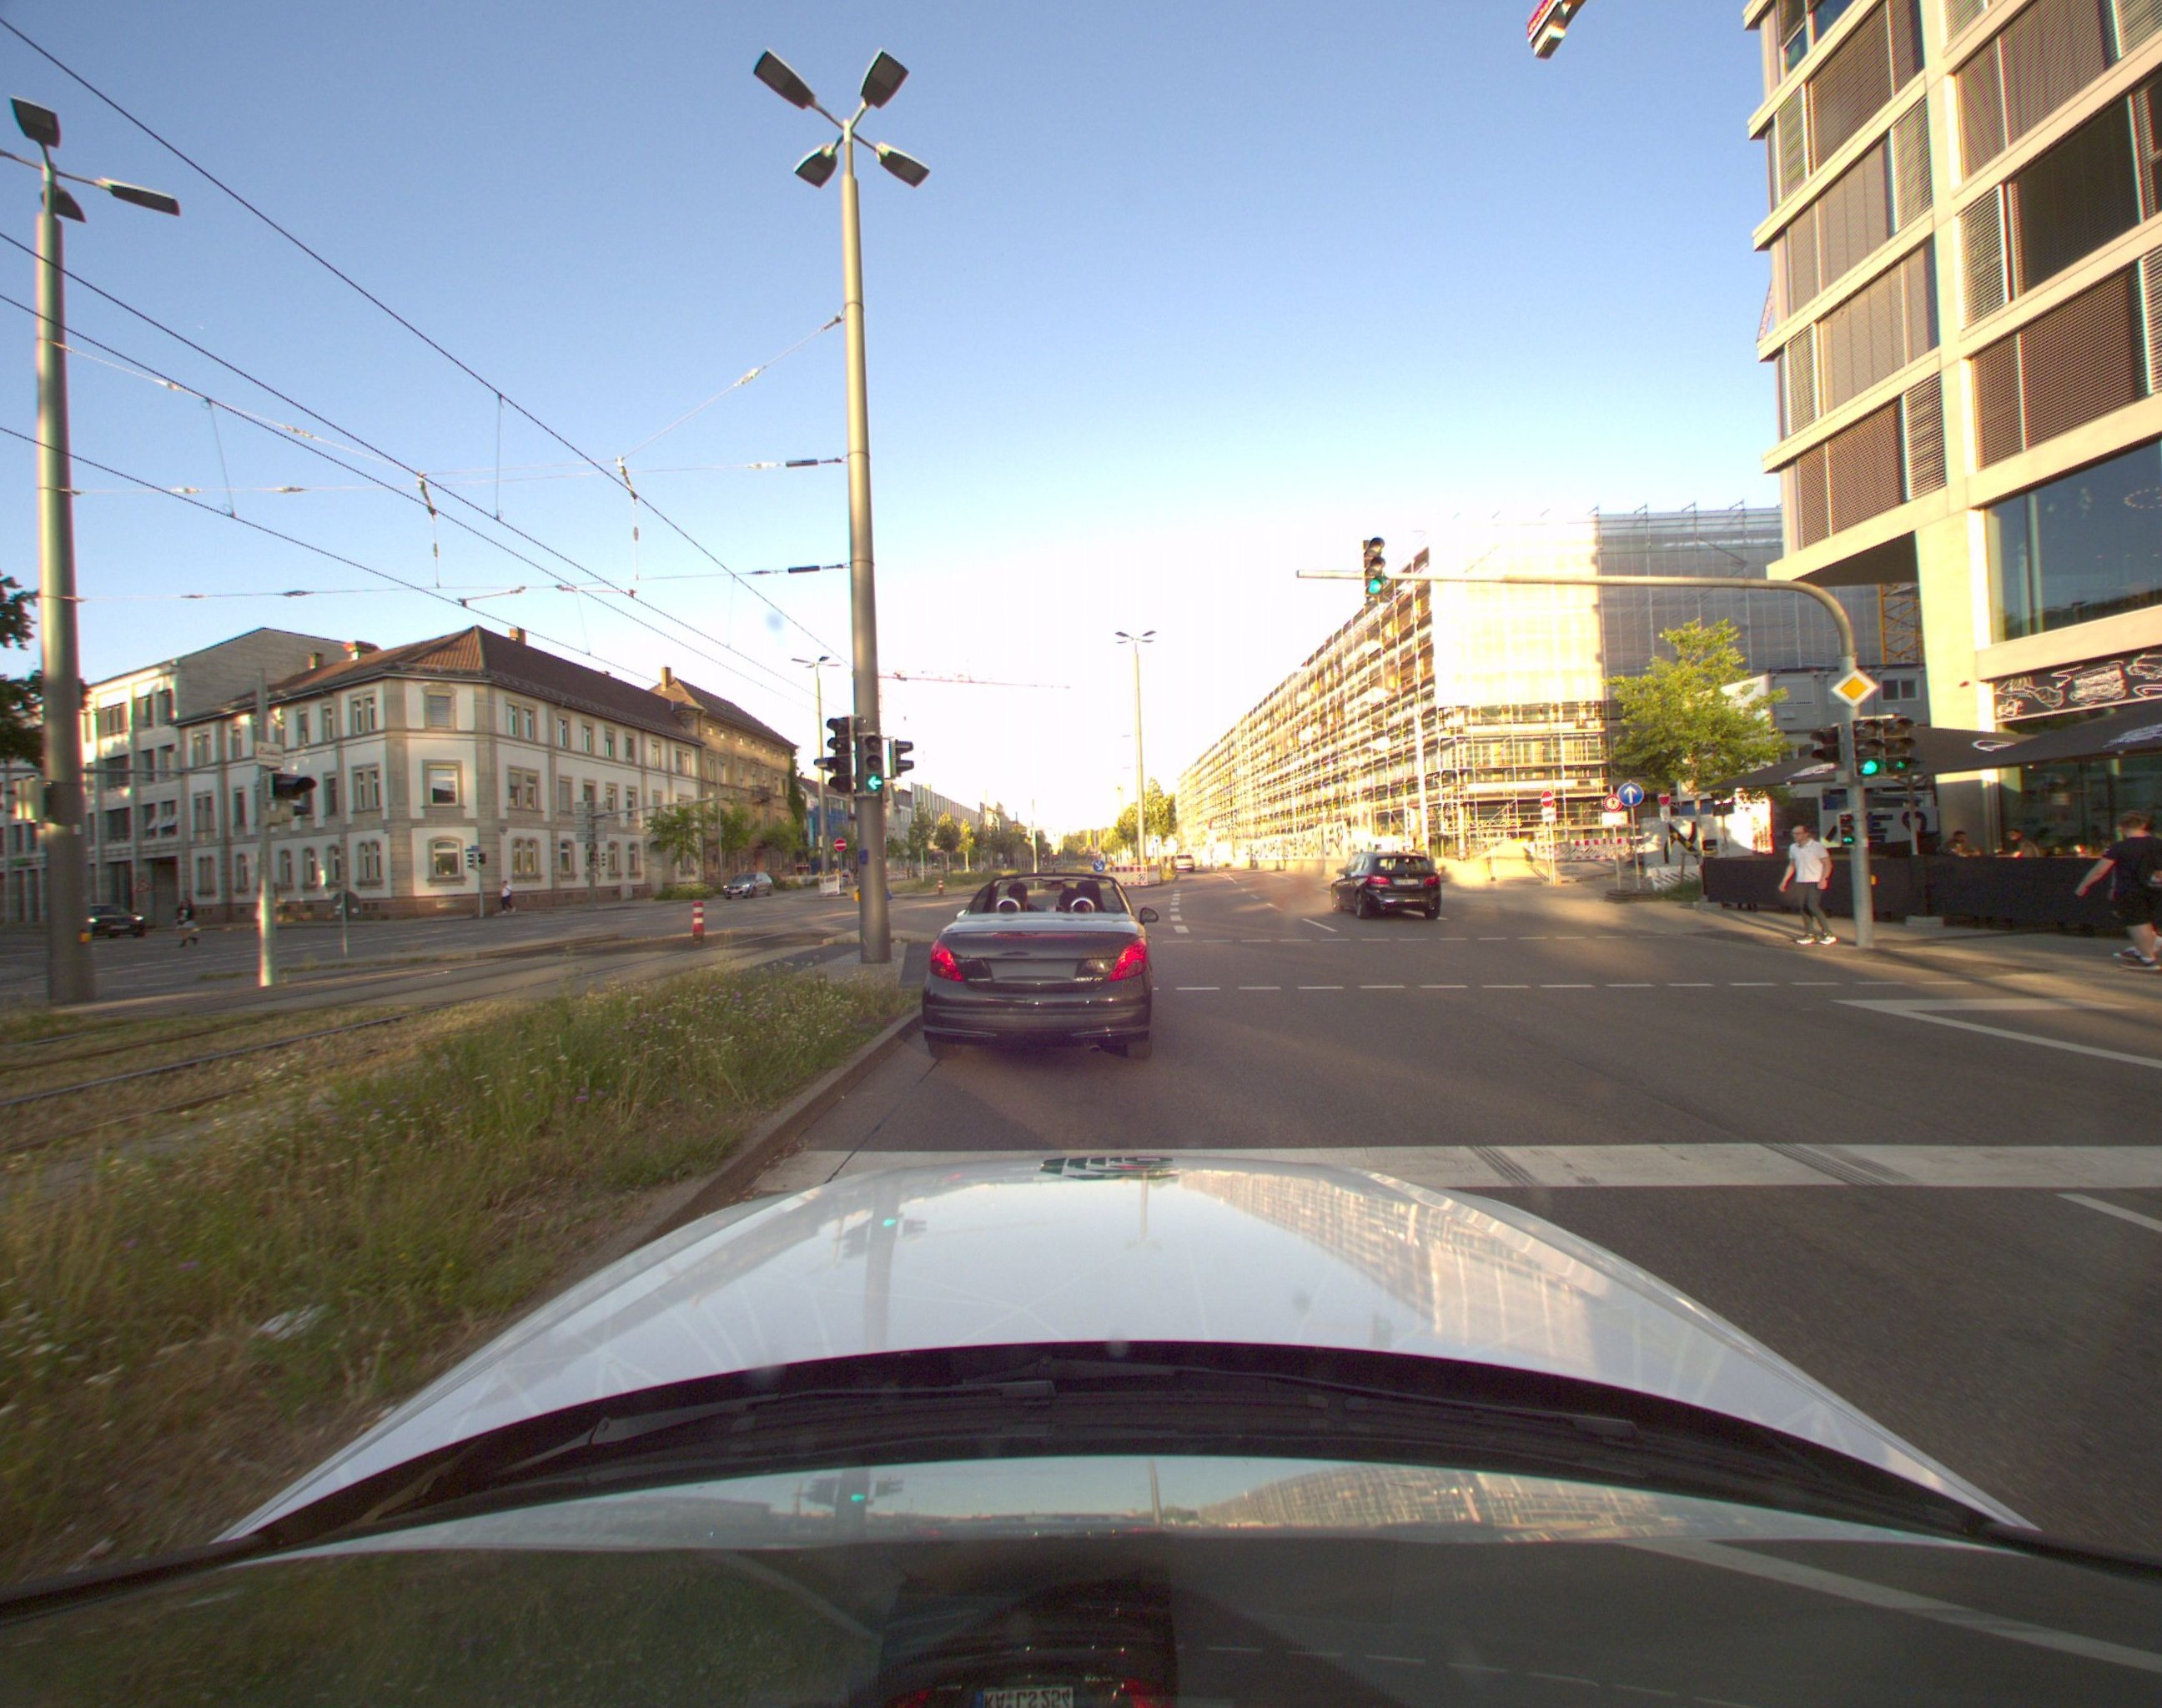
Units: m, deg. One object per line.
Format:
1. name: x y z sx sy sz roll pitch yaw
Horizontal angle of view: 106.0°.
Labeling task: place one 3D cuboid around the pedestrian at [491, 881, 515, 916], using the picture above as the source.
1. pedestrian: -29.459 2.262 41.504 0.695 1.716 0.818 -1 -1 39

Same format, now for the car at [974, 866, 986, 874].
1. car: -19.126 2.974 153.772 1.651 1.431 3.896 0 0 2

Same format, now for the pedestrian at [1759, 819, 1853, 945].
1. pedestrian: 11.144 0.414 12.534 0.678 1.847 0.766 -3 0 -19

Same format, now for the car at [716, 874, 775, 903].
1. car: -21.561 2.176 52.519 1.987 1.580 4.125 -4 0 1

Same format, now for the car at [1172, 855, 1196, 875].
1. car: 9.049 0.907 71.996 1.826 1.672 4.287 -1 0 4

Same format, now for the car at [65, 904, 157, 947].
1. car: -40.935 2.971 34.360 3.949 1.555 1.801 -1 0 30

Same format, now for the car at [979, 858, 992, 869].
1. car: -17.353 1.771 148.555 1.651 1.964 4.268 0 0 2

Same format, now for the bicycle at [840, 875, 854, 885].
1. bicycle: -21.949 2.446 76.496 0.769 0.945 1.640 0 0 1

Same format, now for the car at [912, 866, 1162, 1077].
1. car: -0.239 0.823 7.512 1.668 1.352 4.001 -1 0 2

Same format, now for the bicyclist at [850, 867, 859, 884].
1. bicyclist: -21.032 1.956 75.525 0.587 1.569 0.711 0 0 1

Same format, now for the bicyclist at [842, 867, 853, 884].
1. bicyclist: -21.949 1.988 76.502 0.769 1.571 0.793 0 0 1

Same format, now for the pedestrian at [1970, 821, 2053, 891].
1. pedestrian: 18.701 0.038 16.391 0.740 1.319 0.717 -5 -1 13

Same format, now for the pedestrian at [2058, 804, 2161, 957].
1. pedestrian: 12.621 0.296 9.801 0.683 1.734 0.761 -5 0 -1

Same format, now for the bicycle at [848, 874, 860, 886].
1. bicycle: -21.031 2.406 75.521 0.587 0.975 1.556 0 0 1

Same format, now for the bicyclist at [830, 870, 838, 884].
1. bicyclist: -22.336 2.084 73.723 0.588 1.266 0.460 0 0 1

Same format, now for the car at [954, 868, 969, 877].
1. car: -19.534 2.969 133.131 1.651 1.431 3.896 0 0 2

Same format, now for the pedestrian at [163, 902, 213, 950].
1. pedestrian: -28.583 2.301 26.074 0.603 1.458 0.934 0 -1 -7

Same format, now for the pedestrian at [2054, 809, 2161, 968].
1. pedestrian: 11.896 0.373 9.288 0.651 1.702 0.689 -4 0 -1

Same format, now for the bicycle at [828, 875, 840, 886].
1. bicycle: -22.336 2.402 73.710 0.587 0.989 1.556 0 0 1

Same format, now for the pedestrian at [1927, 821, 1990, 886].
1. pedestrian: 18.672 -0.008 17.341 0.608 1.319 0.624 -5 -1 18

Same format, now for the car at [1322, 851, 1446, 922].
1. car: 7.321 0.715 20.168 1.811 1.519 4.801 -1 0 7
